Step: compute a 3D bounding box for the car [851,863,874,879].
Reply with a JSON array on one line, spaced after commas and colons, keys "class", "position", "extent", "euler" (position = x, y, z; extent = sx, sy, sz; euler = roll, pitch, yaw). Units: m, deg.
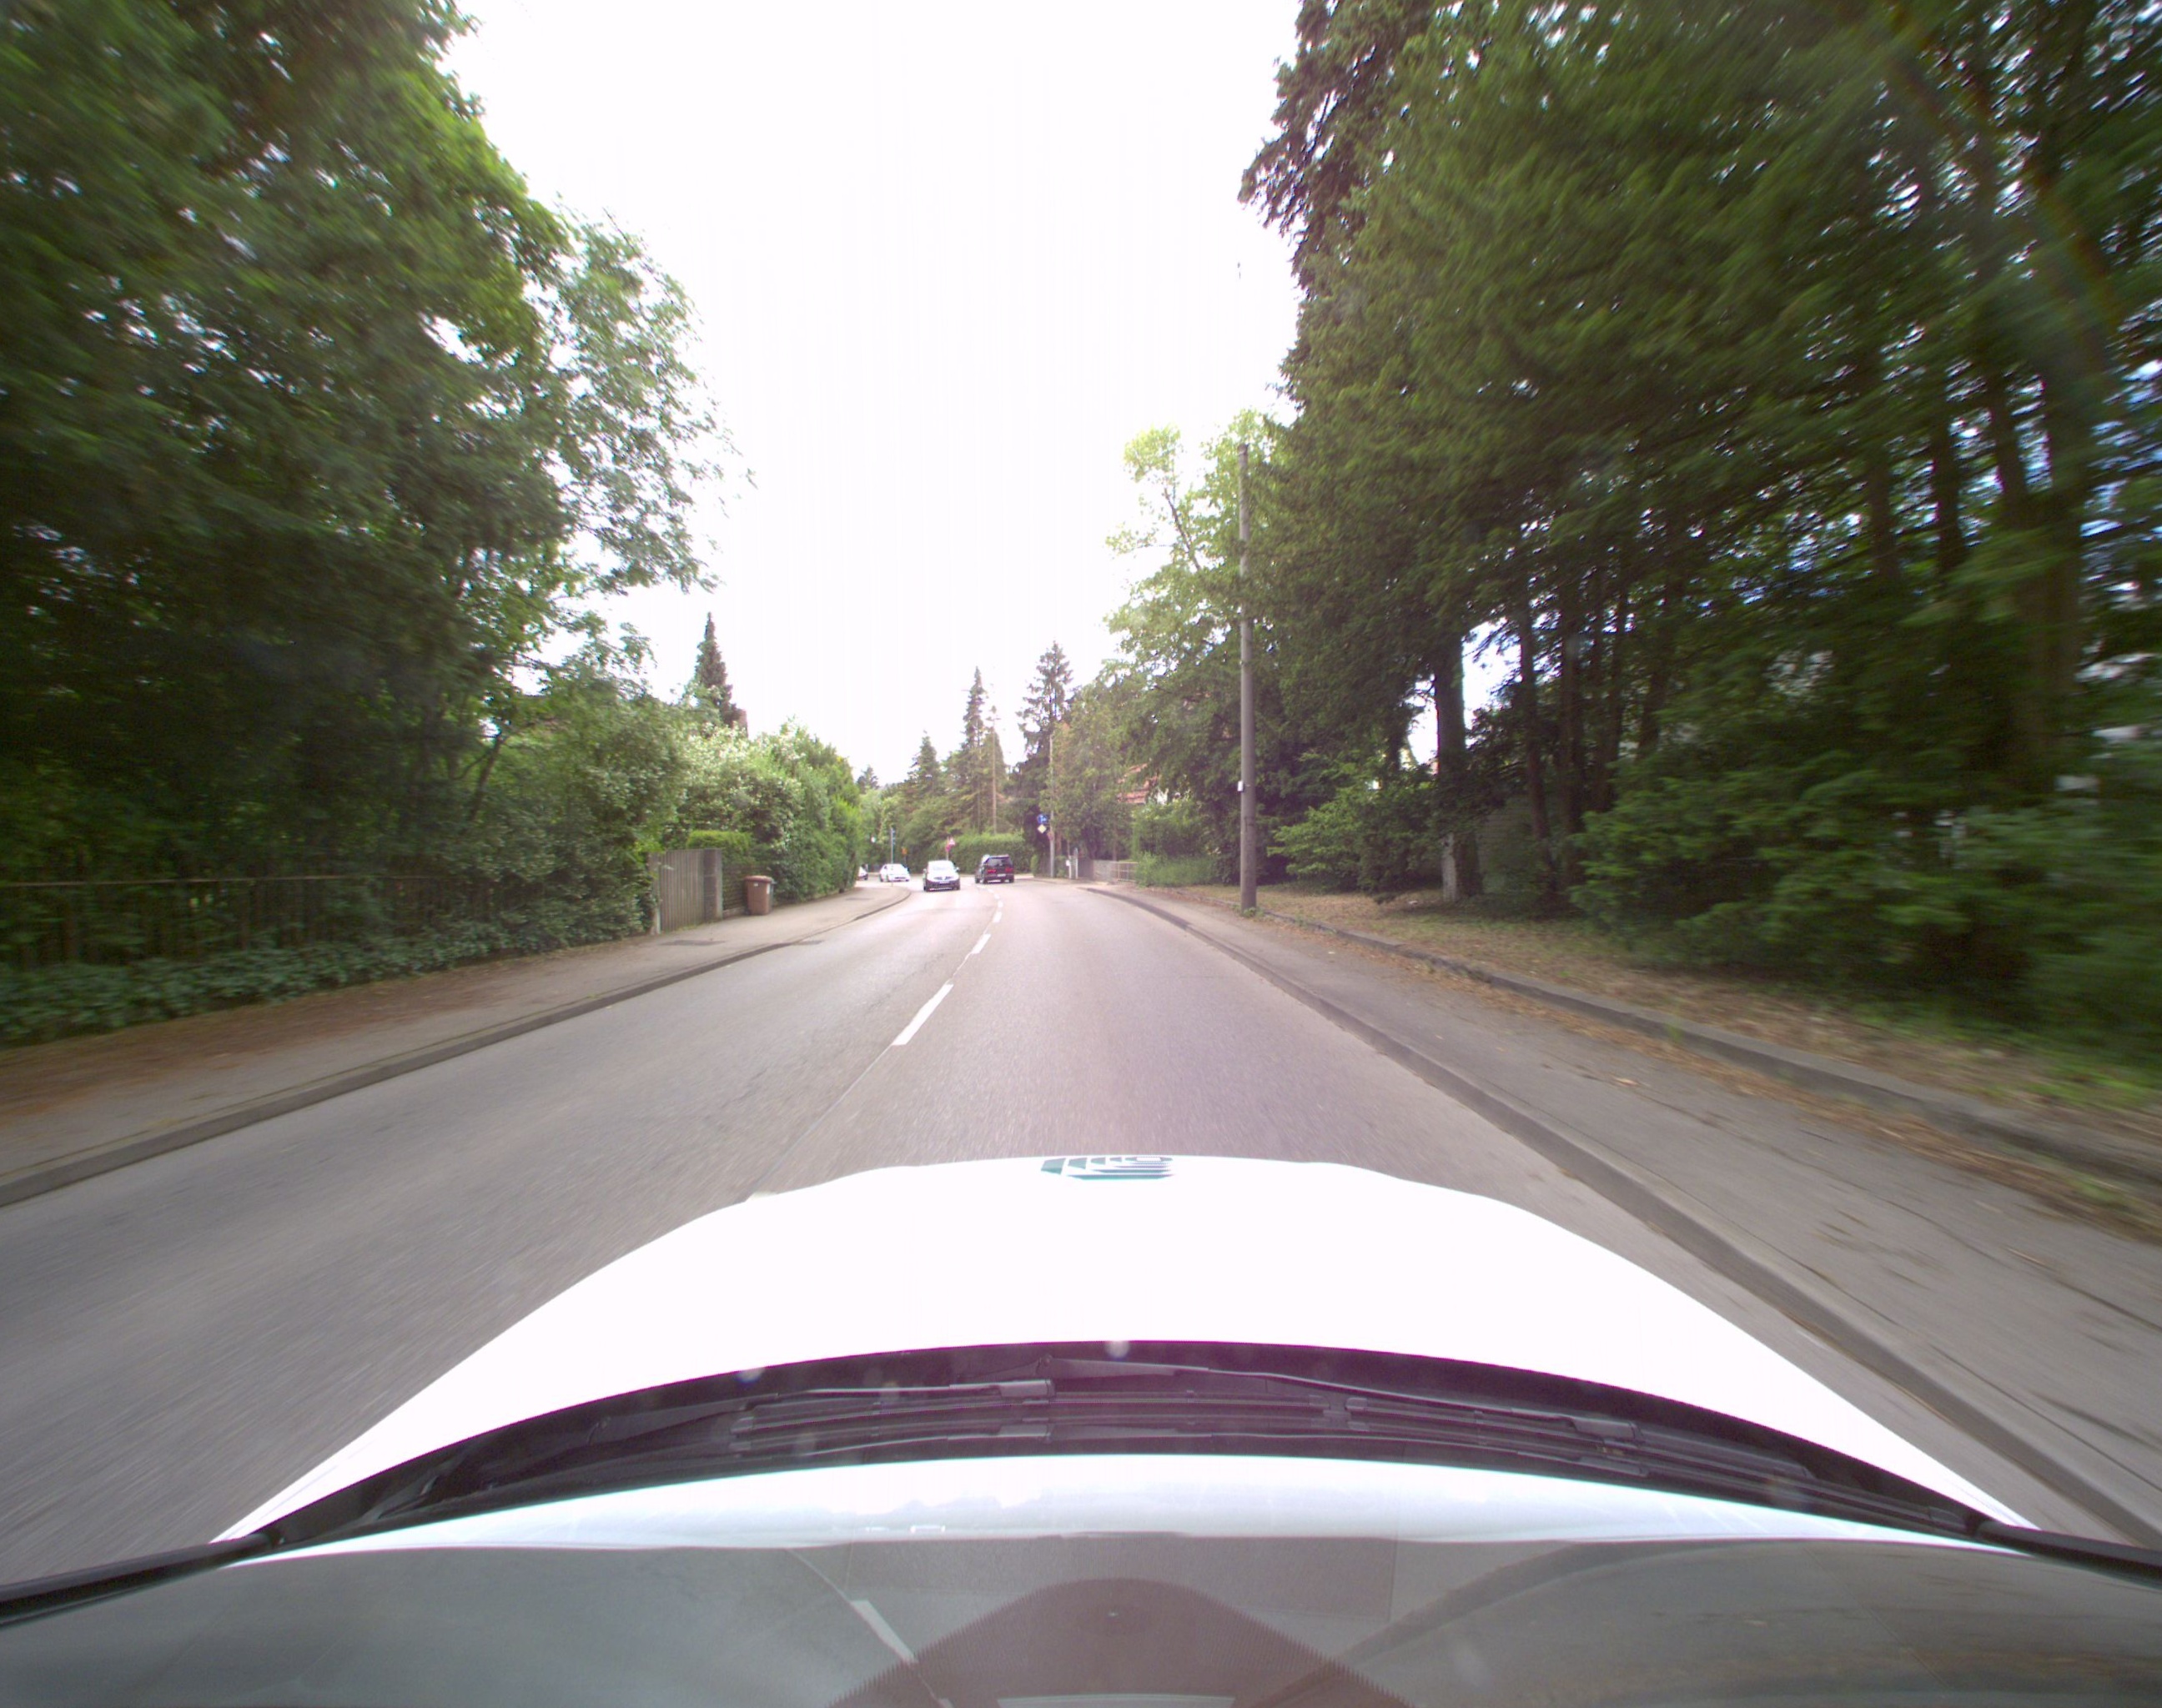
[{"class": "car", "position": [-20.664, 1.598, 76.765], "extent": [1.918, 1.398, 3.886], "euler": [-2, 0, -17]}]

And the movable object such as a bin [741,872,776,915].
[{"class": "movable object such as a bin", "position": [-8.843, 1.066, 22.356], "extent": [0.740, 1.141, 0.645], "euler": [1, -1, -6]}]

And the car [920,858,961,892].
[{"class": "car", "position": [-7.408, 1.063, 42.840], "extent": [1.994, 1.618, 3.985], "euler": [-2, 0, -11]}]

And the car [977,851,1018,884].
[{"class": "car", "position": [-5.204, 0.800, 50.426], "extent": [1.996, 1.881, 3.981], "euler": [0, 1, -14]}]

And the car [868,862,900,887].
[{"class": "car", "position": [-12.854, 1.322, 53.295], "extent": [1.904, 1.454, 3.779], "euler": [-4, 0, -13]}]

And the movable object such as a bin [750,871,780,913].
[{"class": "movable object such as a bin", "position": [-8.960, 1.066, 23.116], "extent": [0.628, 1.145, 0.645], "euler": [1, -1, -6]}]

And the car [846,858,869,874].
[{"class": "car", "position": [-23.959, 1.292, 87.100], "extent": [1.901, 1.706, 3.970], "euler": [-1, -1, -22]}]
